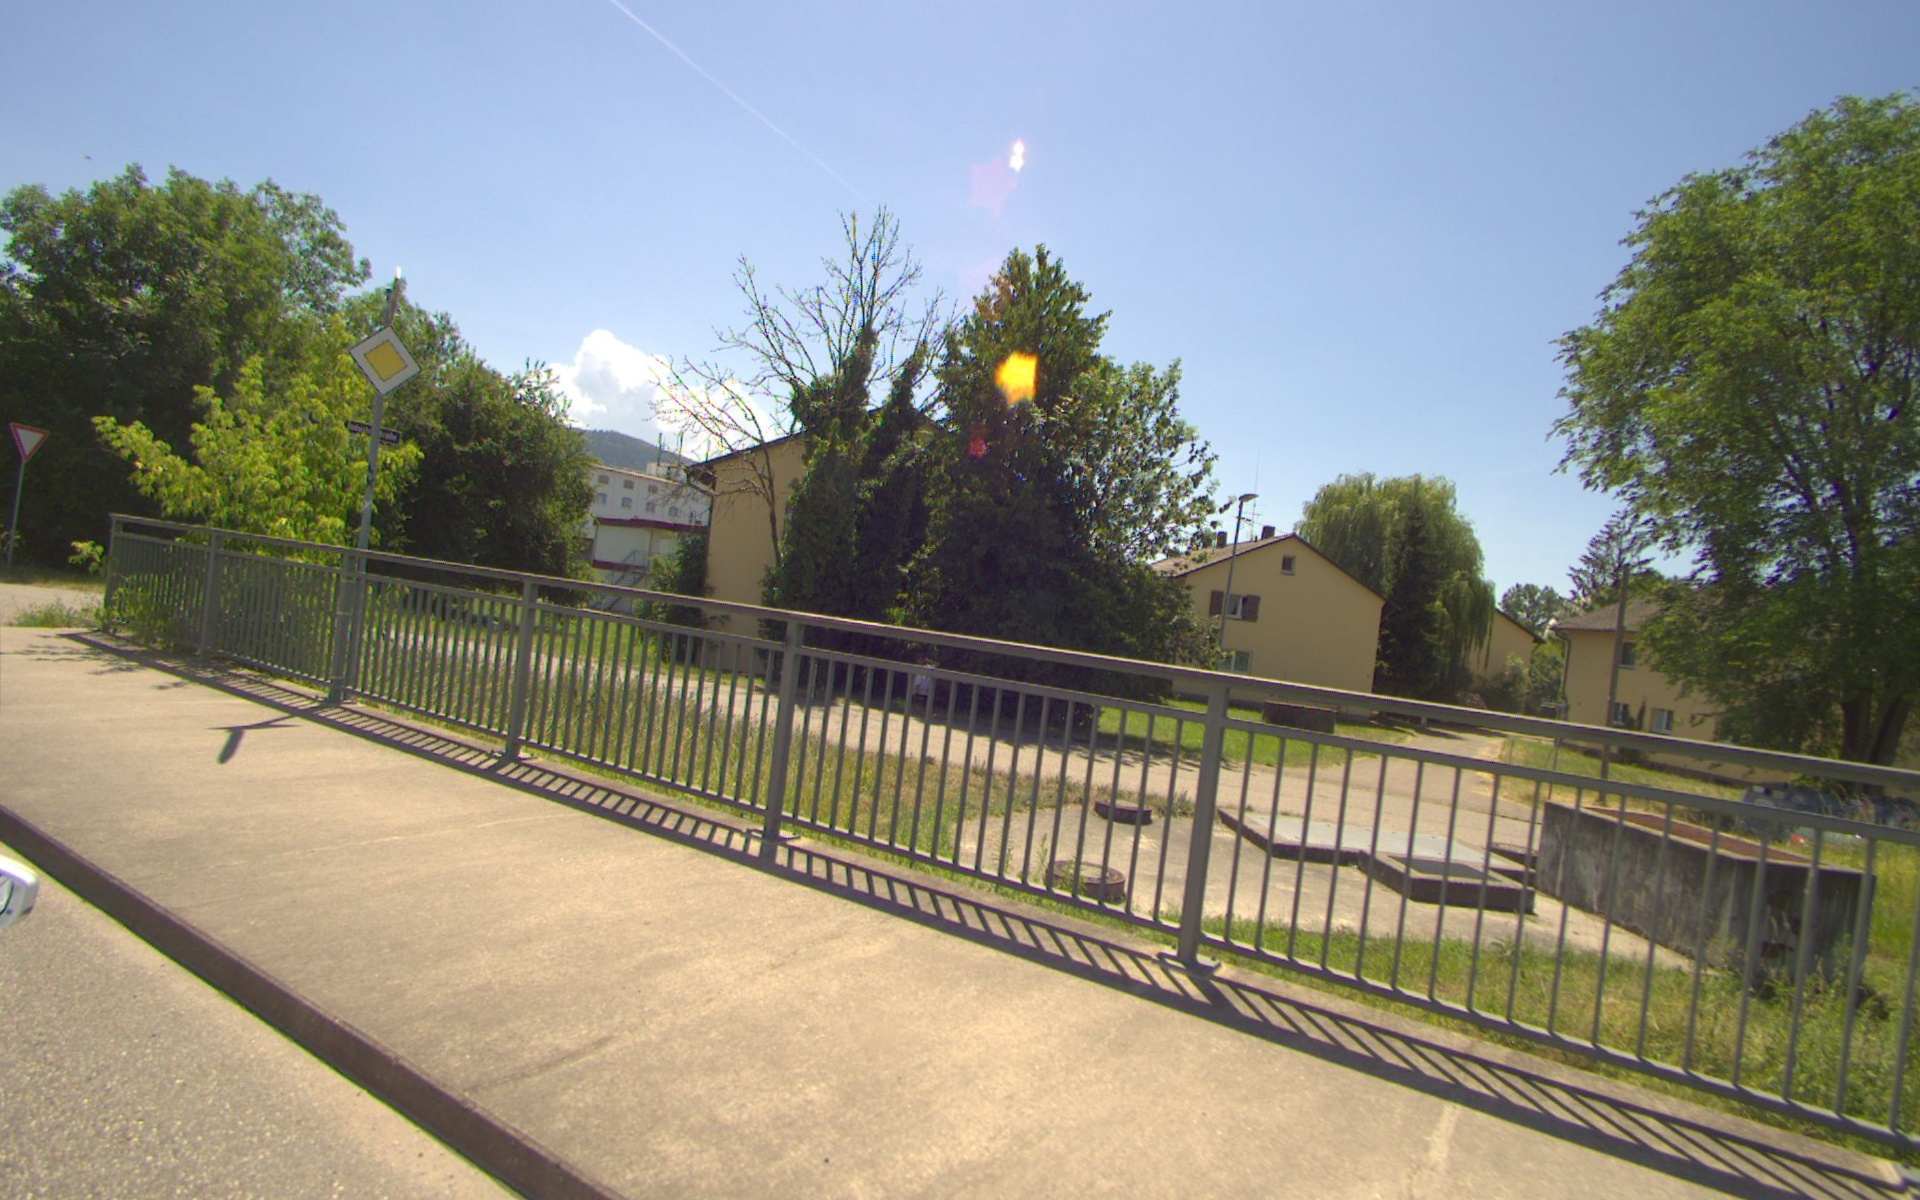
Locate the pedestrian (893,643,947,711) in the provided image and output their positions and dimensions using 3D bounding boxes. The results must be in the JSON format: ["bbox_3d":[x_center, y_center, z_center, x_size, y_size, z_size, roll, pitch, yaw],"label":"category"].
[{"bbox_3d":[-0.914,1.748,22.871,0.838,1.412,0.679,11,5,44],"label":"pedestrian"}]

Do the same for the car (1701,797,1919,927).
[{"bbox_3d":[16.848,4.963,18.844,4.434,1.644,1.997,8,1,-6],"label":"car"}]
